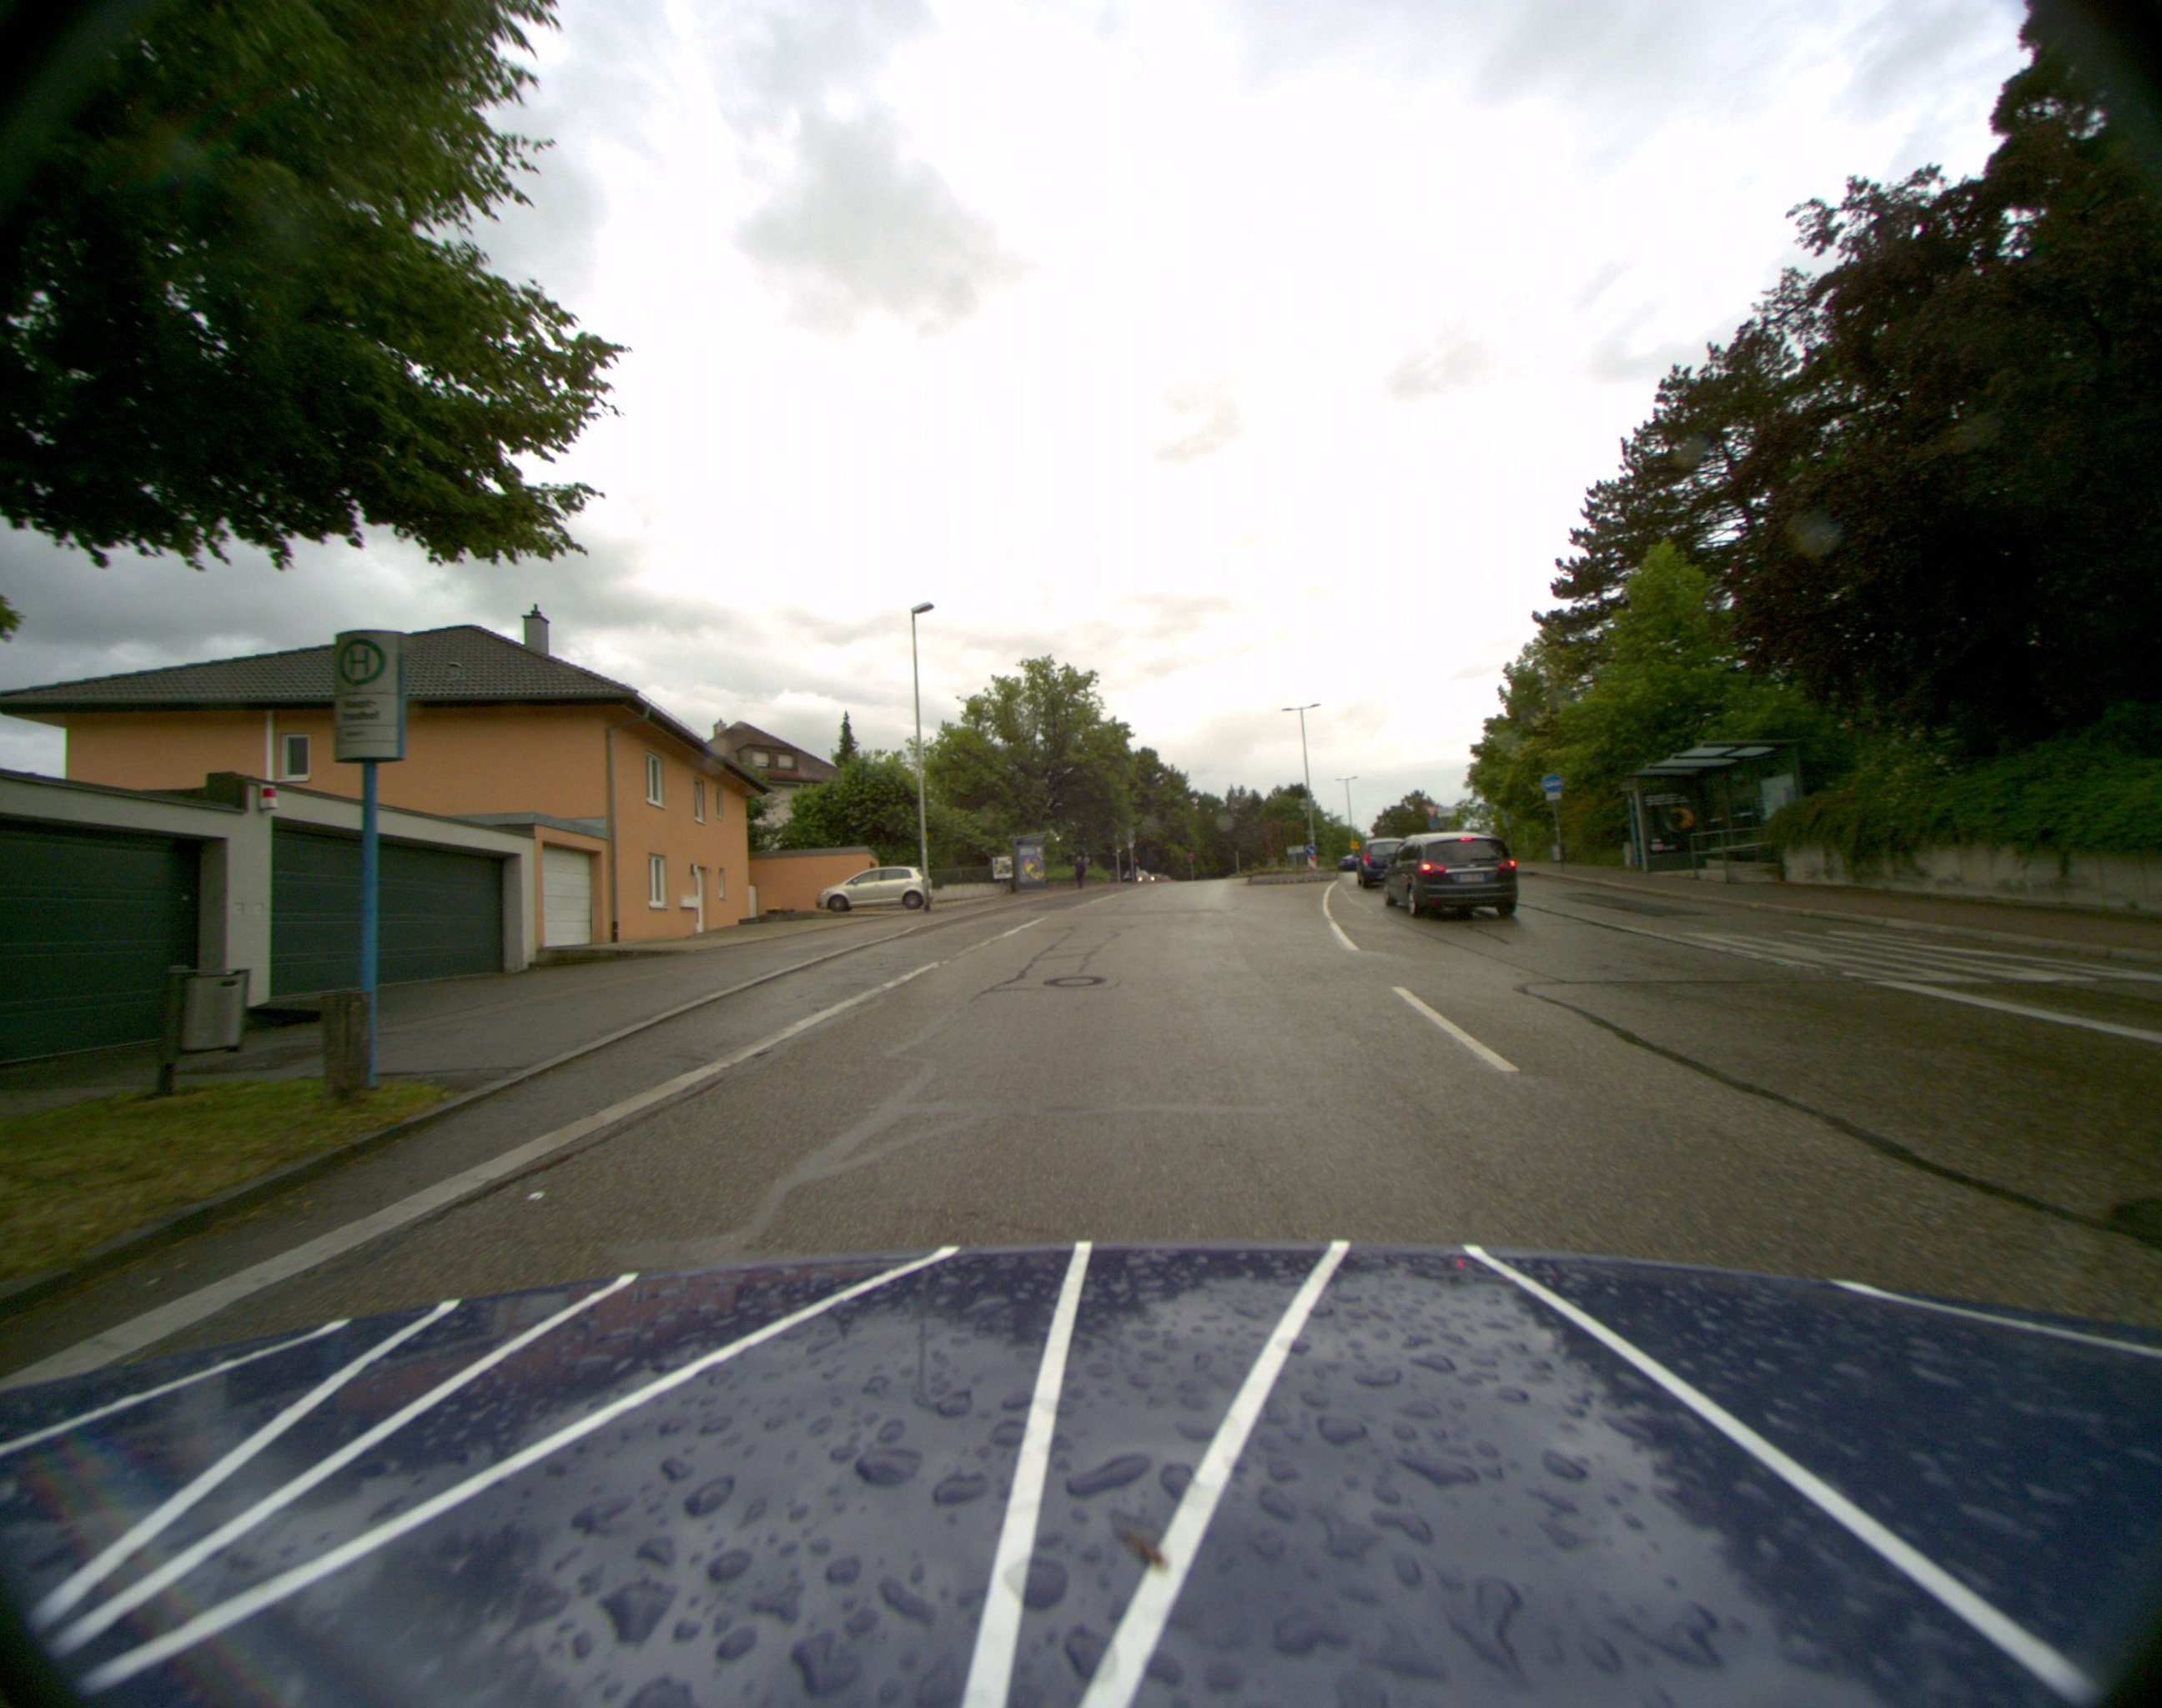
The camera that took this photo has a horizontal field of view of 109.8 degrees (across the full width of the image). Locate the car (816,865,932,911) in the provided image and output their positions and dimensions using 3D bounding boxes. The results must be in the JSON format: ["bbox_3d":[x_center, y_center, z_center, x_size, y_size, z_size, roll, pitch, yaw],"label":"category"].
[{"bbox_3d":[-7.460,1.220,27.694,3.870,1.556,1.726,-1,-1,-8],"label":"car"}]

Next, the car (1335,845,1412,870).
[{"bbox_3d":[20.612,0.272,53.575,4.668,1.428,1.764,-3,-3,-2],"label":"car"}]

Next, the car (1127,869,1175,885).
[{"bbox_3d":[7.163,2.349,77.569,4.375,1.406,1.867,-5,-3,30],"label":"car"}]

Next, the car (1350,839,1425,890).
[{"bbox_3d":[10.036,0.338,25.173,1.724,1.455,4.382,-3,-1,15],"label":"car"}]

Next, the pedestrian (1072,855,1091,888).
[{"bbox_3d":[0.032,0.929,40.052,0.927,1.645,1.098,-3,-1,2],"label":"pedestrian"}]

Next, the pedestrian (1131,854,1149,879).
[{"bbox_3d":[3.948,0.859,50.907,0.821,1.645,0.724,-2,-1,-39],"label":"pedestrian"}]

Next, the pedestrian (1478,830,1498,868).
[{"bbox_3d":[19.922,-0.239,37.177,0.703,1.796,0.827,-3,-1,23],"label":"pedestrian"}]

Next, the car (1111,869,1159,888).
[{"bbox_3d":[4.662,2.184,66.077,1.866,1.406,4.377,-2,-3,-32],"label":"car"}]

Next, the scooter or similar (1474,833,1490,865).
[{"bbox_3d":[19.641,-0.225,37.271,0.509,1.507,1.320,-3,-1,23],"label":"scooter or similar"}]

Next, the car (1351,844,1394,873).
[{"bbox_3d":[15.863,0.228,41.550,1.830,1.393,4.827,-3,-1,17],"label":"car"}]

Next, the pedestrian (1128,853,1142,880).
[{"bbox_3d":[3.556,0.802,49.987,0.724,1.722,0.820,-3,-1,13],"label":"pedestrian"}]

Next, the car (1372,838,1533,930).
[{"bbox_3d":[7.485,0.508,15.837,1.813,1.567,4.689,-3,0,11],"label":"car"}]
